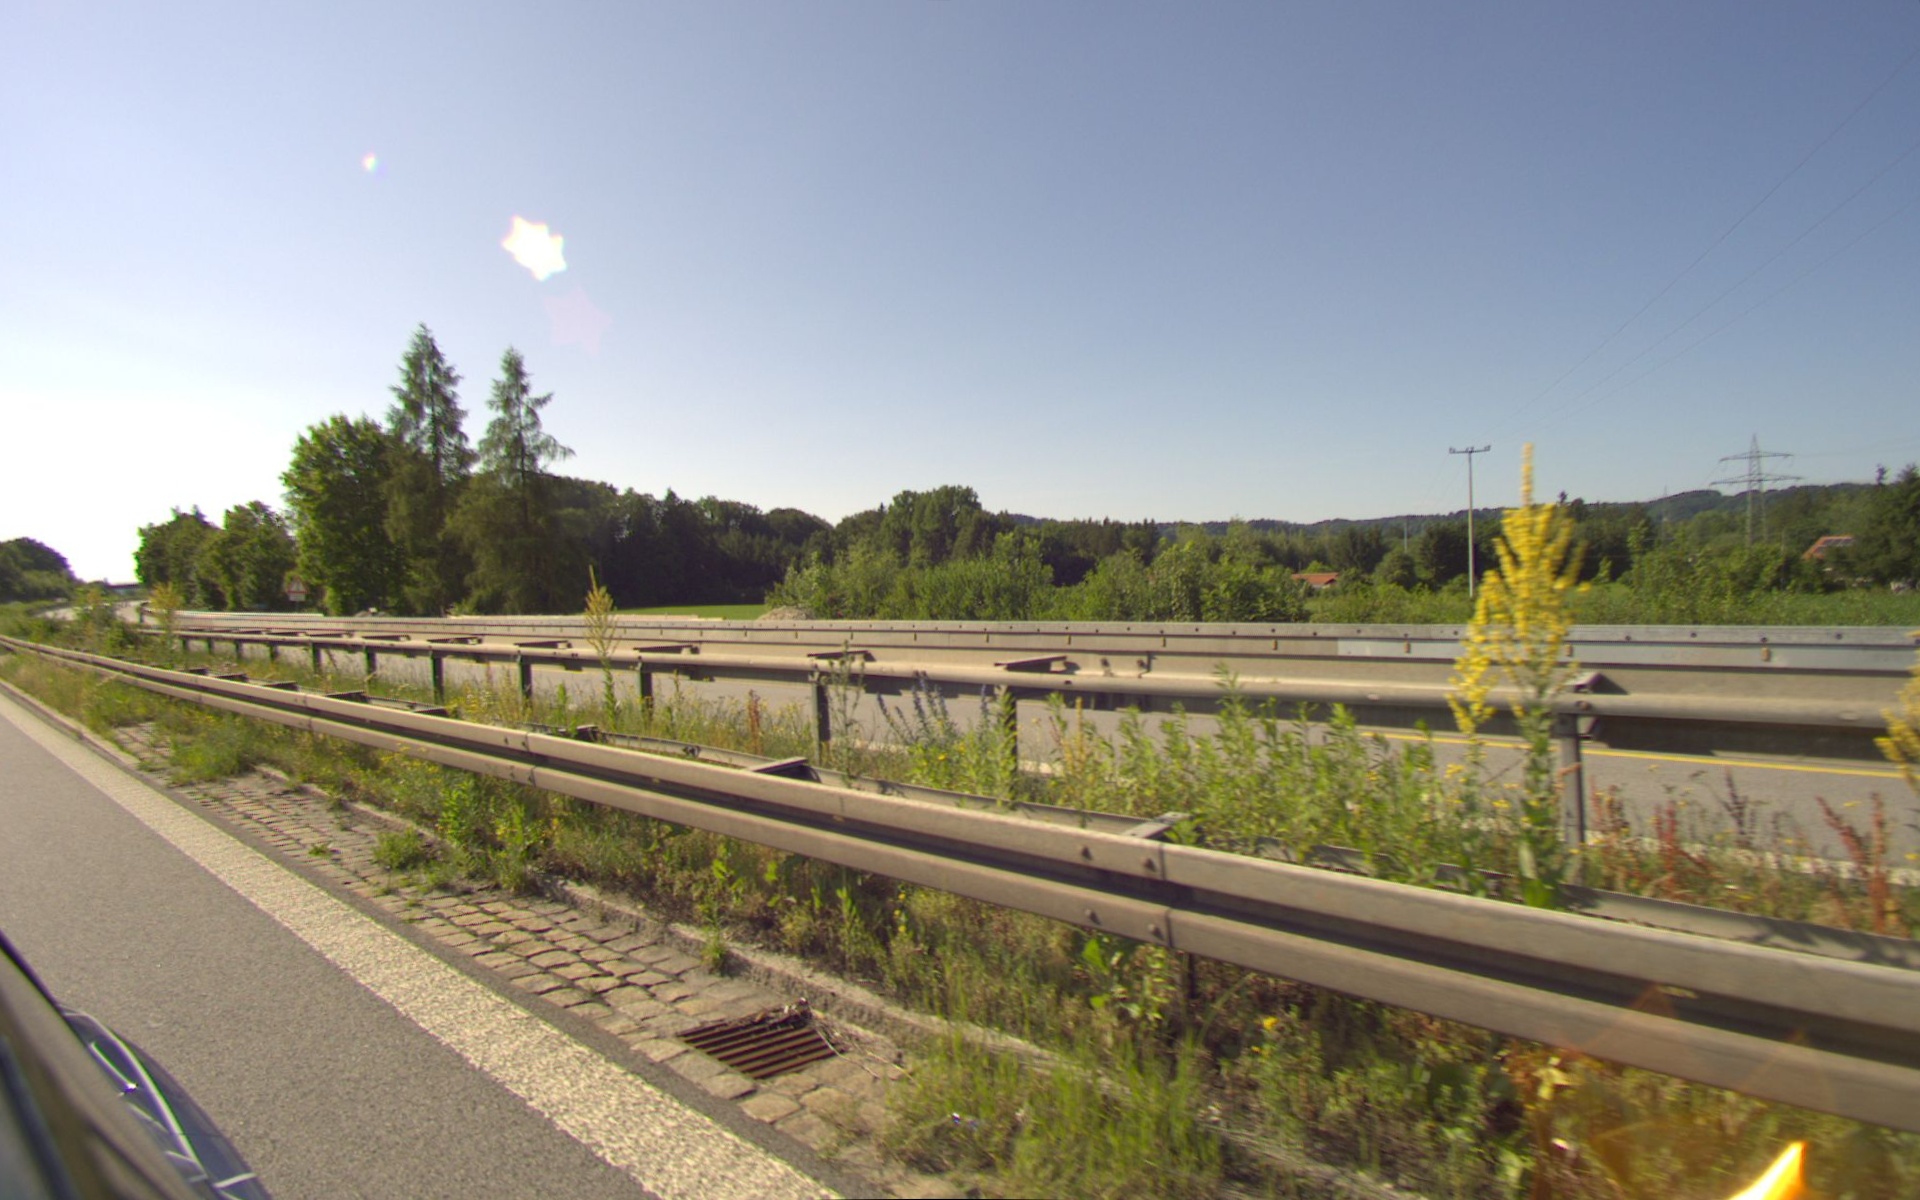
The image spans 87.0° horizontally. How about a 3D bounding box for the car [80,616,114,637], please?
[{"bbox_3d":[-66.221,2.003,77.636,1.739,1.523,4.539,-1,1,-44],"label":"car"}]
